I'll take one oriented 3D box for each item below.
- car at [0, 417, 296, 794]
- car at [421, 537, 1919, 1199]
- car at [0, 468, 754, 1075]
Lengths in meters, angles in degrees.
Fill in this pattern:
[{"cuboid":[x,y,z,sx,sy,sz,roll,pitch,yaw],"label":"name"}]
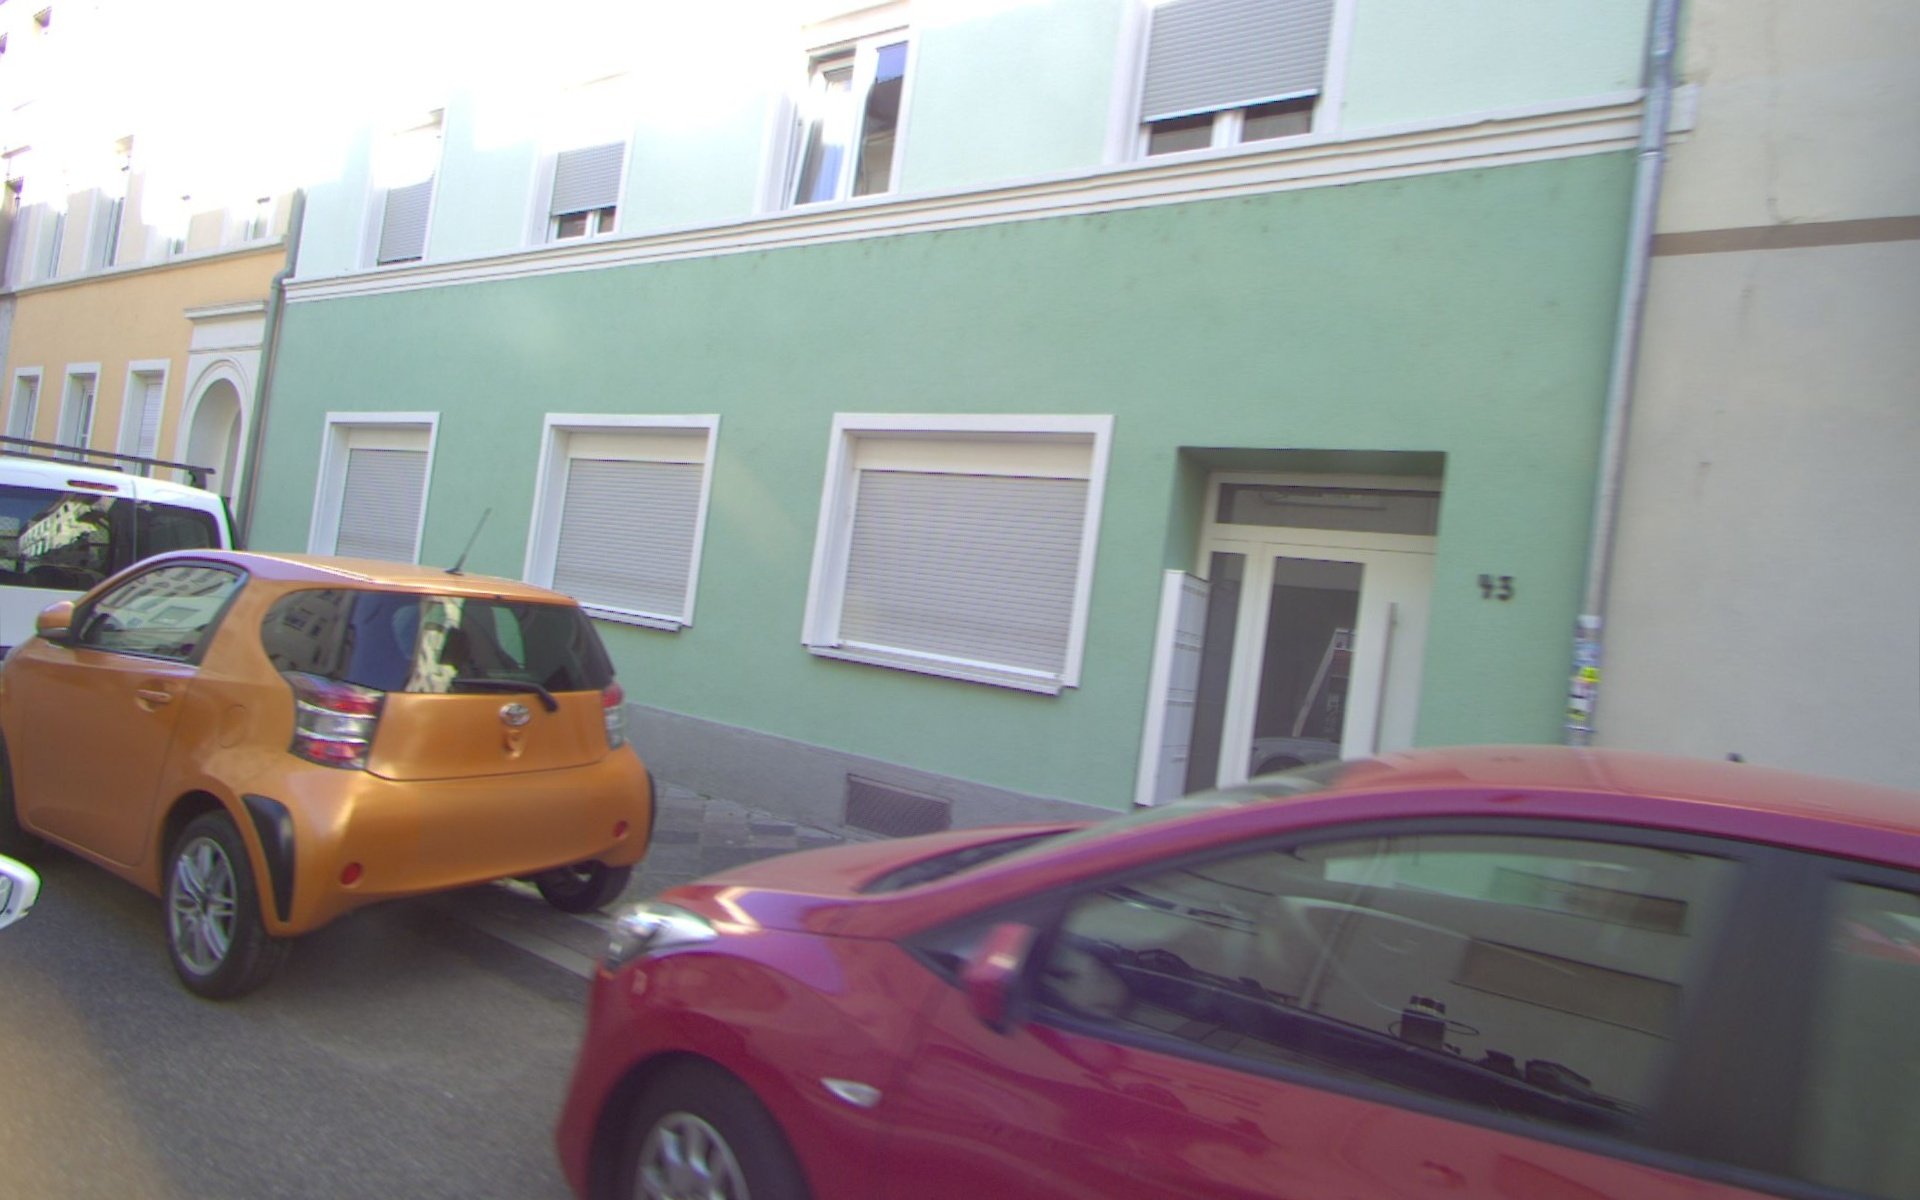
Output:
[{"cuboid":[-6.666,-0.099,6.794,4.264,1.984,1.786,6,-2,31],"label":"car"},{"cuboid":[0.987,0.942,2.001,3.965,1.586,1.746,7,-2,32],"label":"car"},{"cuboid":[-2.939,0.462,4.488,3.619,1.649,1.586,7,-4,30],"label":"car"}]
